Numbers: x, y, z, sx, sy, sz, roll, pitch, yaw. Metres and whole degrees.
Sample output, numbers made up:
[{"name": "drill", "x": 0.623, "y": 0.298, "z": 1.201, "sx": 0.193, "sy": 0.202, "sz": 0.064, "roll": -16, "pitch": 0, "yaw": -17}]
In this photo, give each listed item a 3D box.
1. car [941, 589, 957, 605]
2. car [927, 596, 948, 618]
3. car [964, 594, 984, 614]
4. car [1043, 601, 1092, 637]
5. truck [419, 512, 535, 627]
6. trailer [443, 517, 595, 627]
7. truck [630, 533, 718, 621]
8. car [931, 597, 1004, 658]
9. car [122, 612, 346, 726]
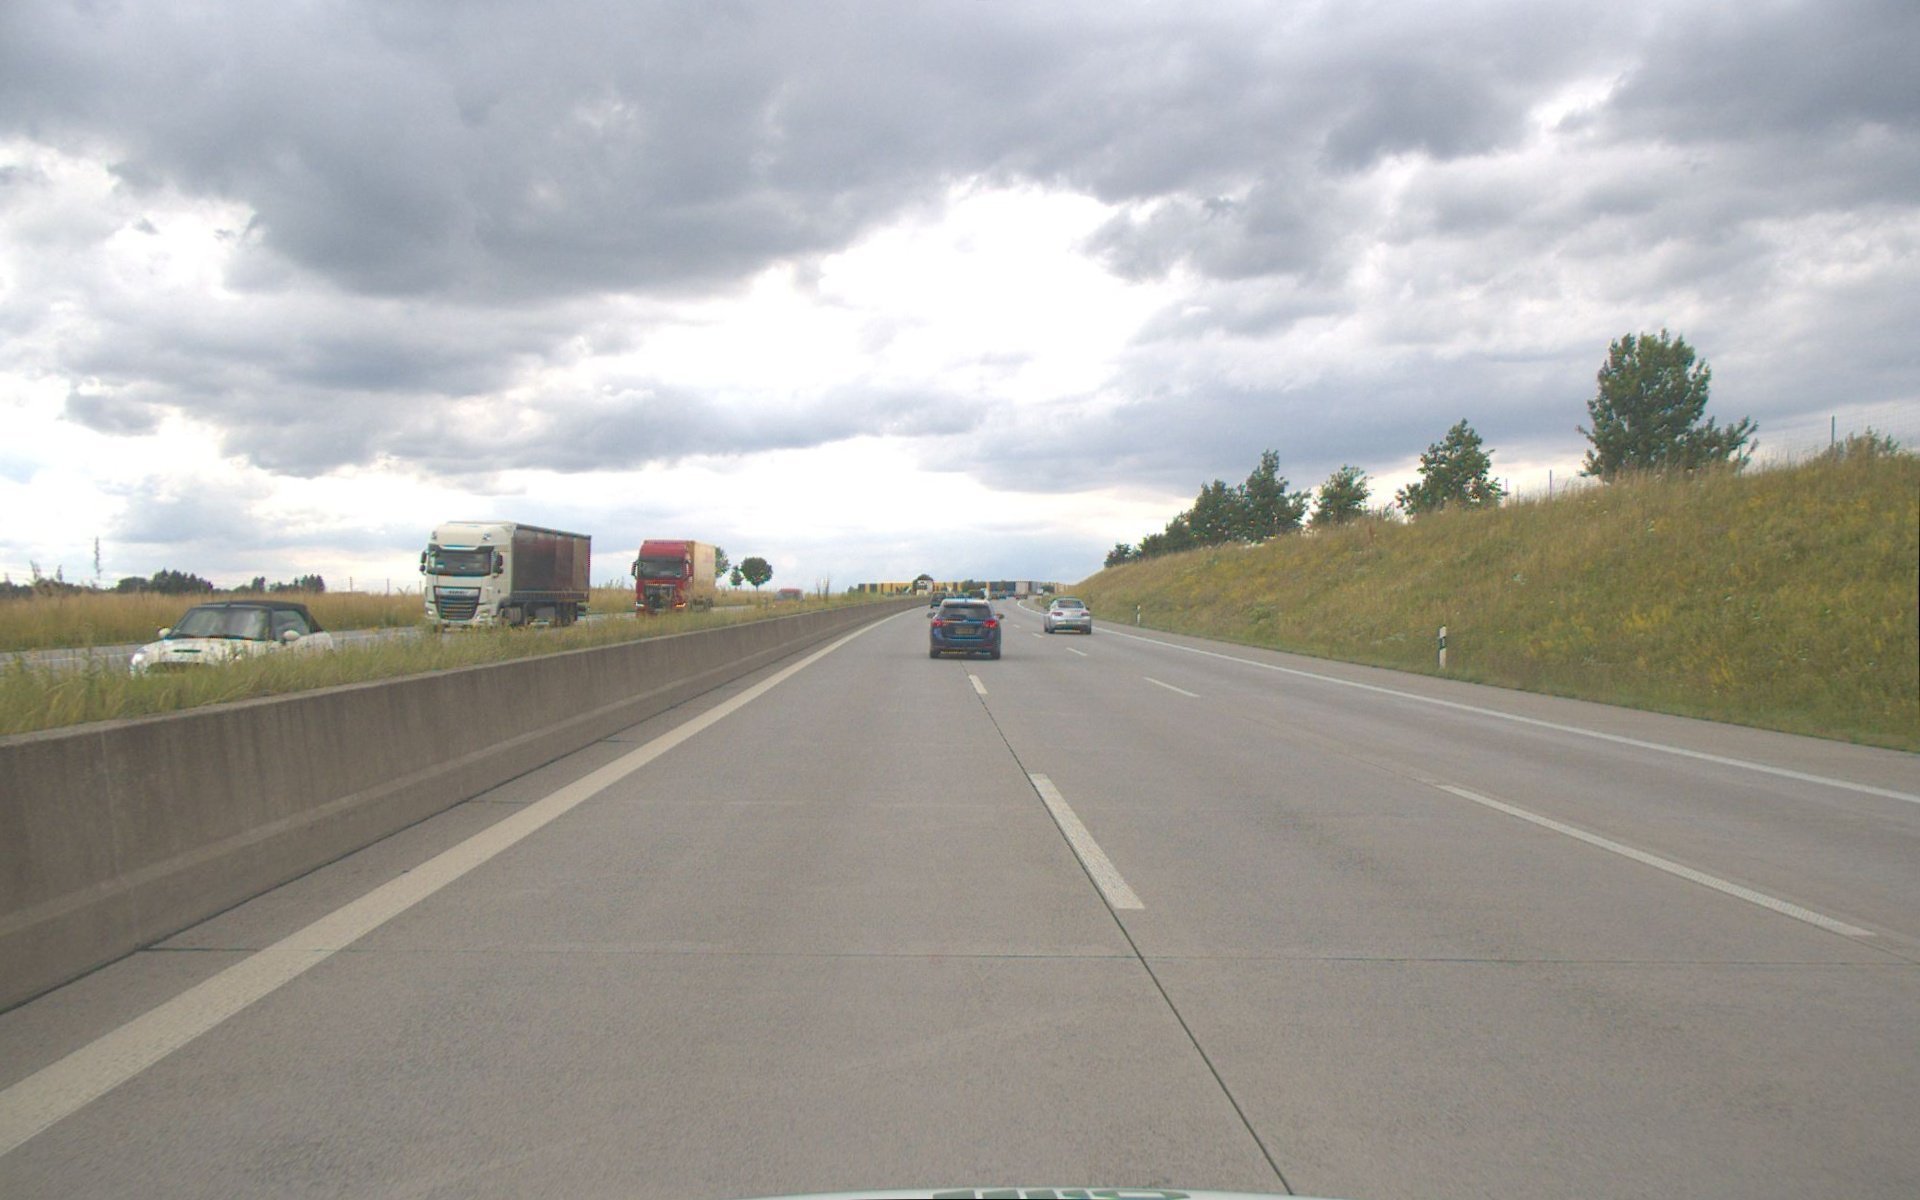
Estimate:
[{"name": "car", "x": -1.443, "y": -0.378, "z": 215.560, "sx": 1.953, "sy": 2.049, "sz": 3.999, "roll": 1, "pitch": -1, "yaw": -1}, {"name": "car", "x": -2.189, "y": 0.694, "z": 163.520, "sx": 2.005, "sy": 2.049, "sz": 3.999, "roll": 1, "pitch": -1, "yaw": -1}, {"name": "car", "x": 1.468, "y": 0.424, "z": 174.992, "sx": 1.953, "sy": 2.049, "sz": 3.999, "roll": 1, "pitch": -1, "yaw": -1}, {"name": "car", "x": 4.486, "y": 0.778, "z": 69.631, "sx": 1.752, "sy": 1.428, "sz": 4.221, "roll": 0, "pitch": 0, "yaw": 0}, {"name": "truck", "x": -17.948, "y": -1.098, "z": 61.812, "sx": 2.782, "sy": 4.108, "sz": 5.510, "roll": 0, "pitch": 0, "yaw": -1}, {"name": "trailer", "x": -18.027, "y": -1.083, "z": 68.762, "sx": 2.782, "sy": 4.108, "sz": 13.905, "roll": 0, "pitch": 0, "yaw": -1}, {"name": "truck", "x": -14.210, "y": -1.108, "z": 82.979, "sx": 2.759, "sy": 4.108, "sz": 10.566, "roll": 0, "pitch": 0, "yaw": -1}, {"name": "car", "x": 0.225, "y": 0.668, "z": 41.588, "sx": 1.738, "sy": 1.438, "sz": 4.001, "roll": 0, "pitch": 0, "yaw": 2}, {"name": "car", "x": -9.726, "y": 0.877, "z": 22.416, "sx": 1.535, "sy": 1.376, "sz": 3.472, "roll": 0, "pitch": 0, "yaw": -1}]
